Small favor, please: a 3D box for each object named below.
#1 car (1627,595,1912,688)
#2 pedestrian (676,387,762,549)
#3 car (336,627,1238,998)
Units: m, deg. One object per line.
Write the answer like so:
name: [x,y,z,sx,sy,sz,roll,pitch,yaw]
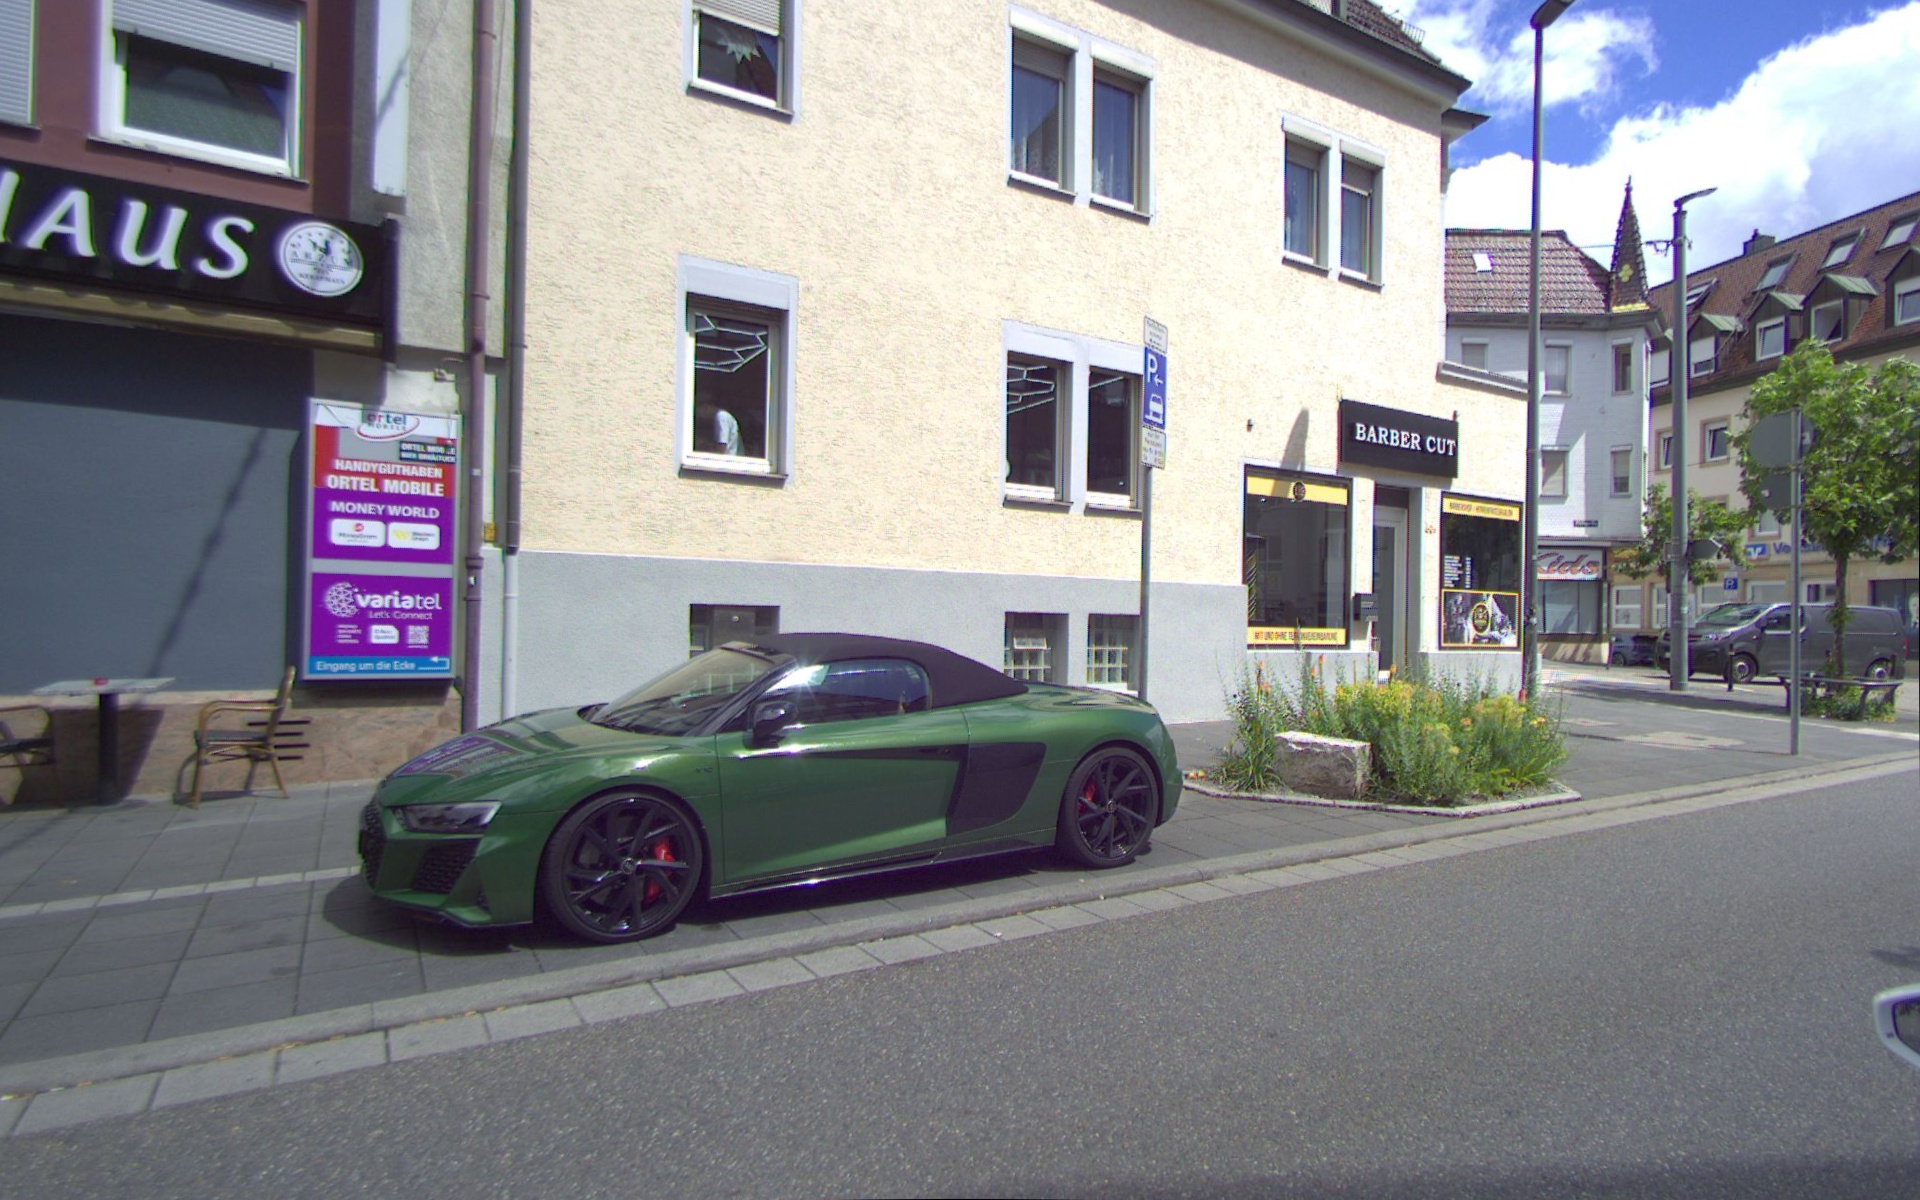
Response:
car: [18.383,0.908,22.981,4.902,1.873,2.047,2,0,-2]
pedestrian: [-2.294,-1.219,9.554,0.733,1.412,0.678,2,0,-15]
car: [-0.757,0.816,5.533,4.470,1.240,1.810,1,1,-31]
